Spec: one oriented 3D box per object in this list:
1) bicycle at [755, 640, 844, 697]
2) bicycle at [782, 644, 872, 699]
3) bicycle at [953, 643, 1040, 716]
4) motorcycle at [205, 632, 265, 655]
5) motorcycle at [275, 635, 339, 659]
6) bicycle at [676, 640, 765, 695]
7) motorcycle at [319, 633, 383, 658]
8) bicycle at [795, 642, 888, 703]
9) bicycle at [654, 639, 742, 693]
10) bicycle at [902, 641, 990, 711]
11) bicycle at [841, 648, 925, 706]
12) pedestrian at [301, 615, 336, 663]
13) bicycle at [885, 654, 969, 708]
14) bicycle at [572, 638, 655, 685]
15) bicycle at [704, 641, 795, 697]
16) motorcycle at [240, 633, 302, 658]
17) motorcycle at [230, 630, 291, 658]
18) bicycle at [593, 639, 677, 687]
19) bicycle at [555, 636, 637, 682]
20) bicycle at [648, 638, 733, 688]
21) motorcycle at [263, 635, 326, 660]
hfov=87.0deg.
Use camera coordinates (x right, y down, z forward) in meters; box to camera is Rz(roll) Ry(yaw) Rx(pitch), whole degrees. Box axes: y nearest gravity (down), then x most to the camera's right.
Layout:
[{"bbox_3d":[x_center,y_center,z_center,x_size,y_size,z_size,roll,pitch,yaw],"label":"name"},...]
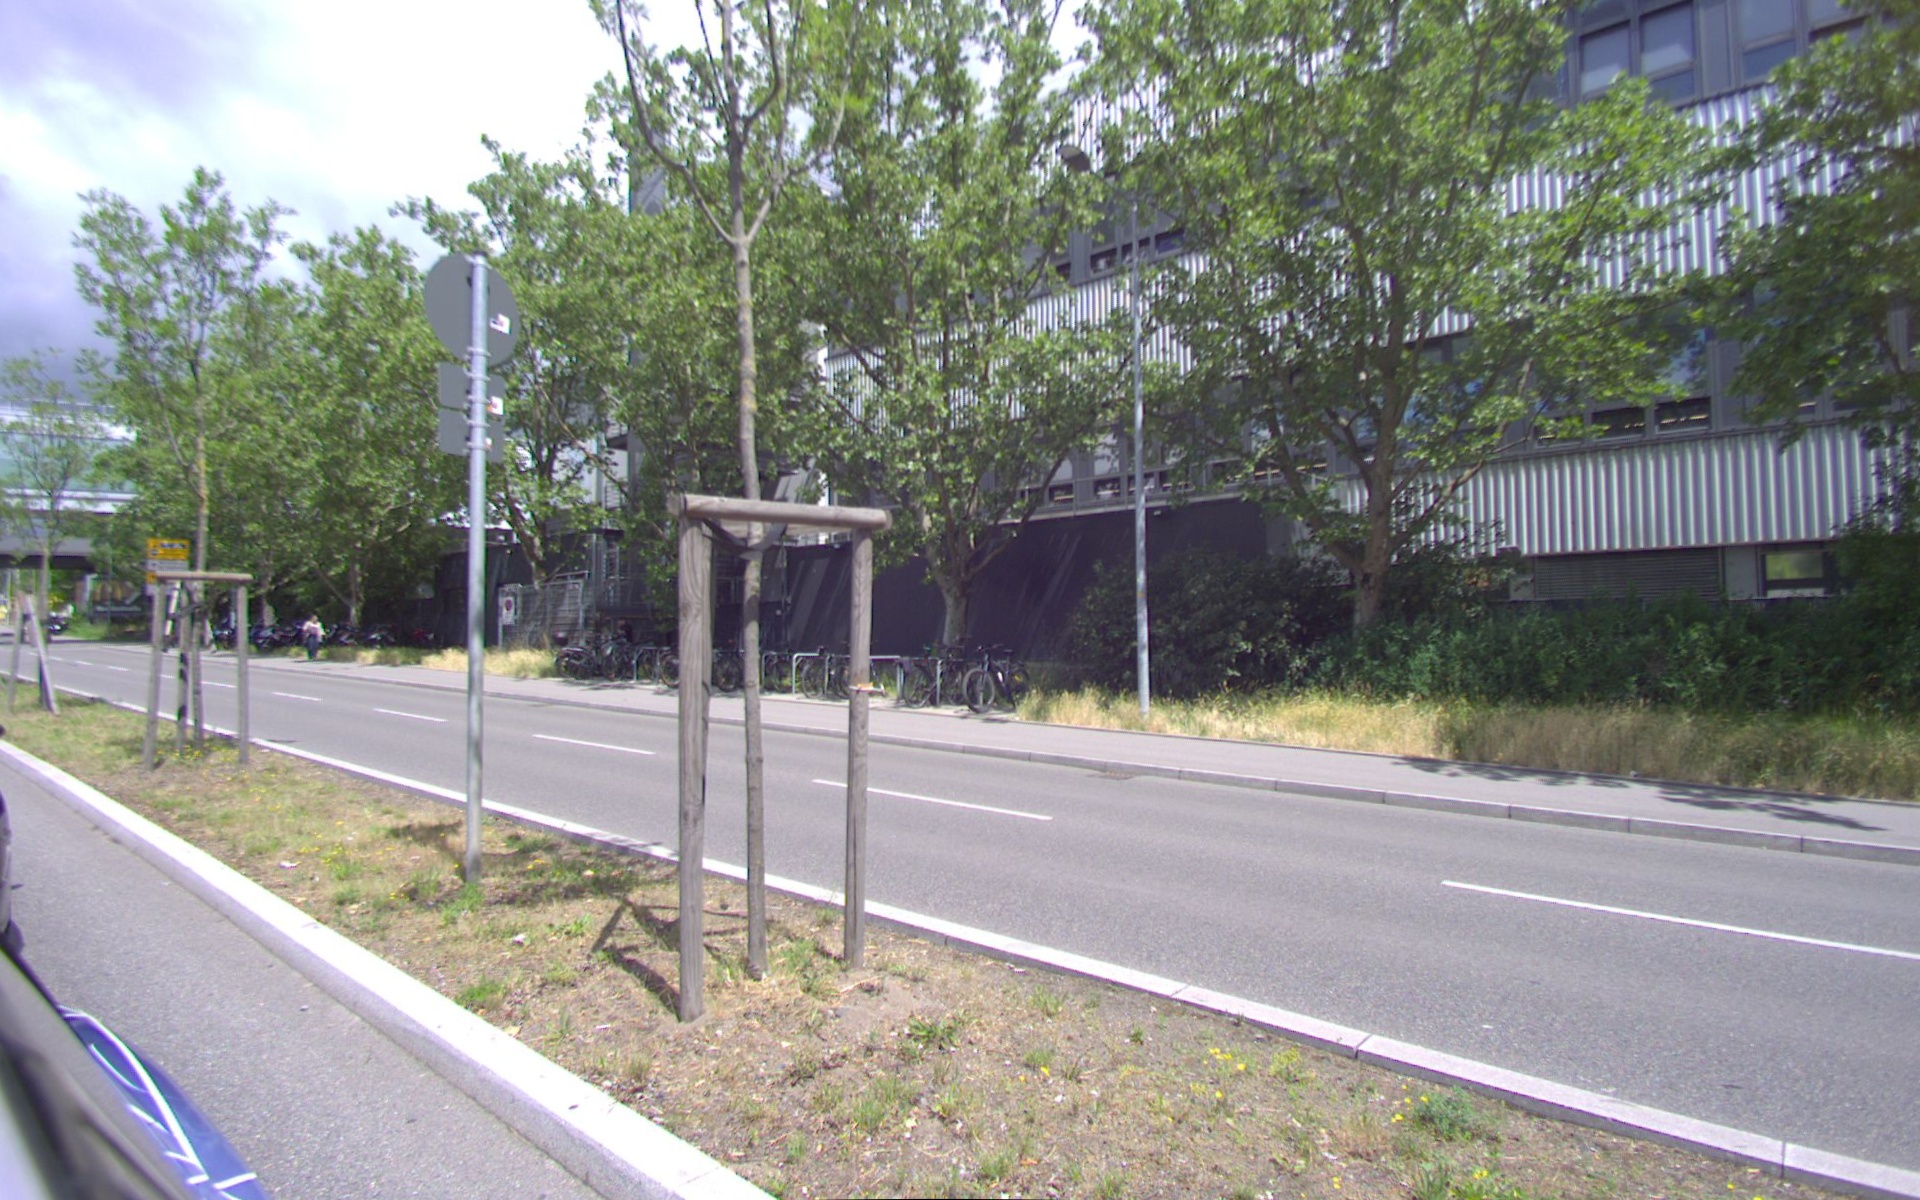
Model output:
[{"bbox_3d":[-3.416,1.449,21.748,0.382,1.119,2.101,-2,-1,43],"label":"bicycle"},{"bbox_3d":[-2.747,1.473,21.134,0.382,1.038,2.101,-2,-1,43],"label":"bicycle"},{"bbox_3d":[0.656,1.333,17.395,0.381,1.137,1.968,-2,-1,39],"label":"bicycle"},{"bbox_3d":[-32.087,1.904,44.812,0.534,0.976,2.105,-2,-1,41],"label":"motorcycle"},{"bbox_3d":[-26.330,1.901,40.811,0.534,0.892,2.105,-2,-1,41],"label":"motorcycle"},{"bbox_3d":[-5.337,1.481,22.665,0.382,1.119,2.101,-2,-1,43],"label":"bicycle"},{"bbox_3d":[-23.969,1.788,39.841,0.534,0.905,2.105,-2,-1,41],"label":"motorcycle"},{"bbox_3d":[-2.344,1.428,20.226,0.382,1.104,2.101,-2,-1,43],"label":"bicycle"},{"bbox_3d":[-5.994,1.492,23.261,0.382,1.119,2.101,-2,-1,43],"label":"bicycle"},{"bbox_3d":[-0.223,1.329,18.118,0.381,1.137,1.968,-2,-1,39],"label":"bicycle"},{"bbox_3d":[-1.473,1.470,19.704,0.381,1.005,1.968,-2,-1,39],"label":"bicycle"},{"bbox_3d":[-23.254,1.404,36.697,0.672,1.734,0.888,-1,-2,41],"label":"pedestrian"},{"bbox_3d":[-0.601,1.514,19.219,0.381,0.897,1.968,-2,-1,39],"label":"bicycle"},{"bbox_3d":[-8.909,1.563,26.083,0.382,1.119,2.101,-2,-1,43],"label":"bicycle"},{"bbox_3d":[-4.547,1.472,22.014,0.382,1.119,2.101,-2,-1,43],"label":"bicycle"},{"bbox_3d":[-28.732,1.907,42.238,0.534,0.976,2.105,-2,-1,41],"label":"motorcycle"},{"bbox_3d":[-29.842,1.871,43.200,0.534,1.146,2.105,-2,-1,41],"label":"motorcycle"},{"bbox_3d":[-8.165,1.559,25.534,0.382,1.119,2.101,-2,-1,43],"label":"bicycle"},{"bbox_3d":[-9.550,1.543,26.628,0.382,1.119,2.101,-2,-1,43],"label":"bicycle"},{"bbox_3d":[-6.485,1.504,24.411,0.382,1.119,2.101,-2,-1,43],"label":"bicycle"},{"bbox_3d":[-27.100,1.928,41.244,0.534,0.976,2.105,-2,-1,41],"label":"motorcycle"}]
